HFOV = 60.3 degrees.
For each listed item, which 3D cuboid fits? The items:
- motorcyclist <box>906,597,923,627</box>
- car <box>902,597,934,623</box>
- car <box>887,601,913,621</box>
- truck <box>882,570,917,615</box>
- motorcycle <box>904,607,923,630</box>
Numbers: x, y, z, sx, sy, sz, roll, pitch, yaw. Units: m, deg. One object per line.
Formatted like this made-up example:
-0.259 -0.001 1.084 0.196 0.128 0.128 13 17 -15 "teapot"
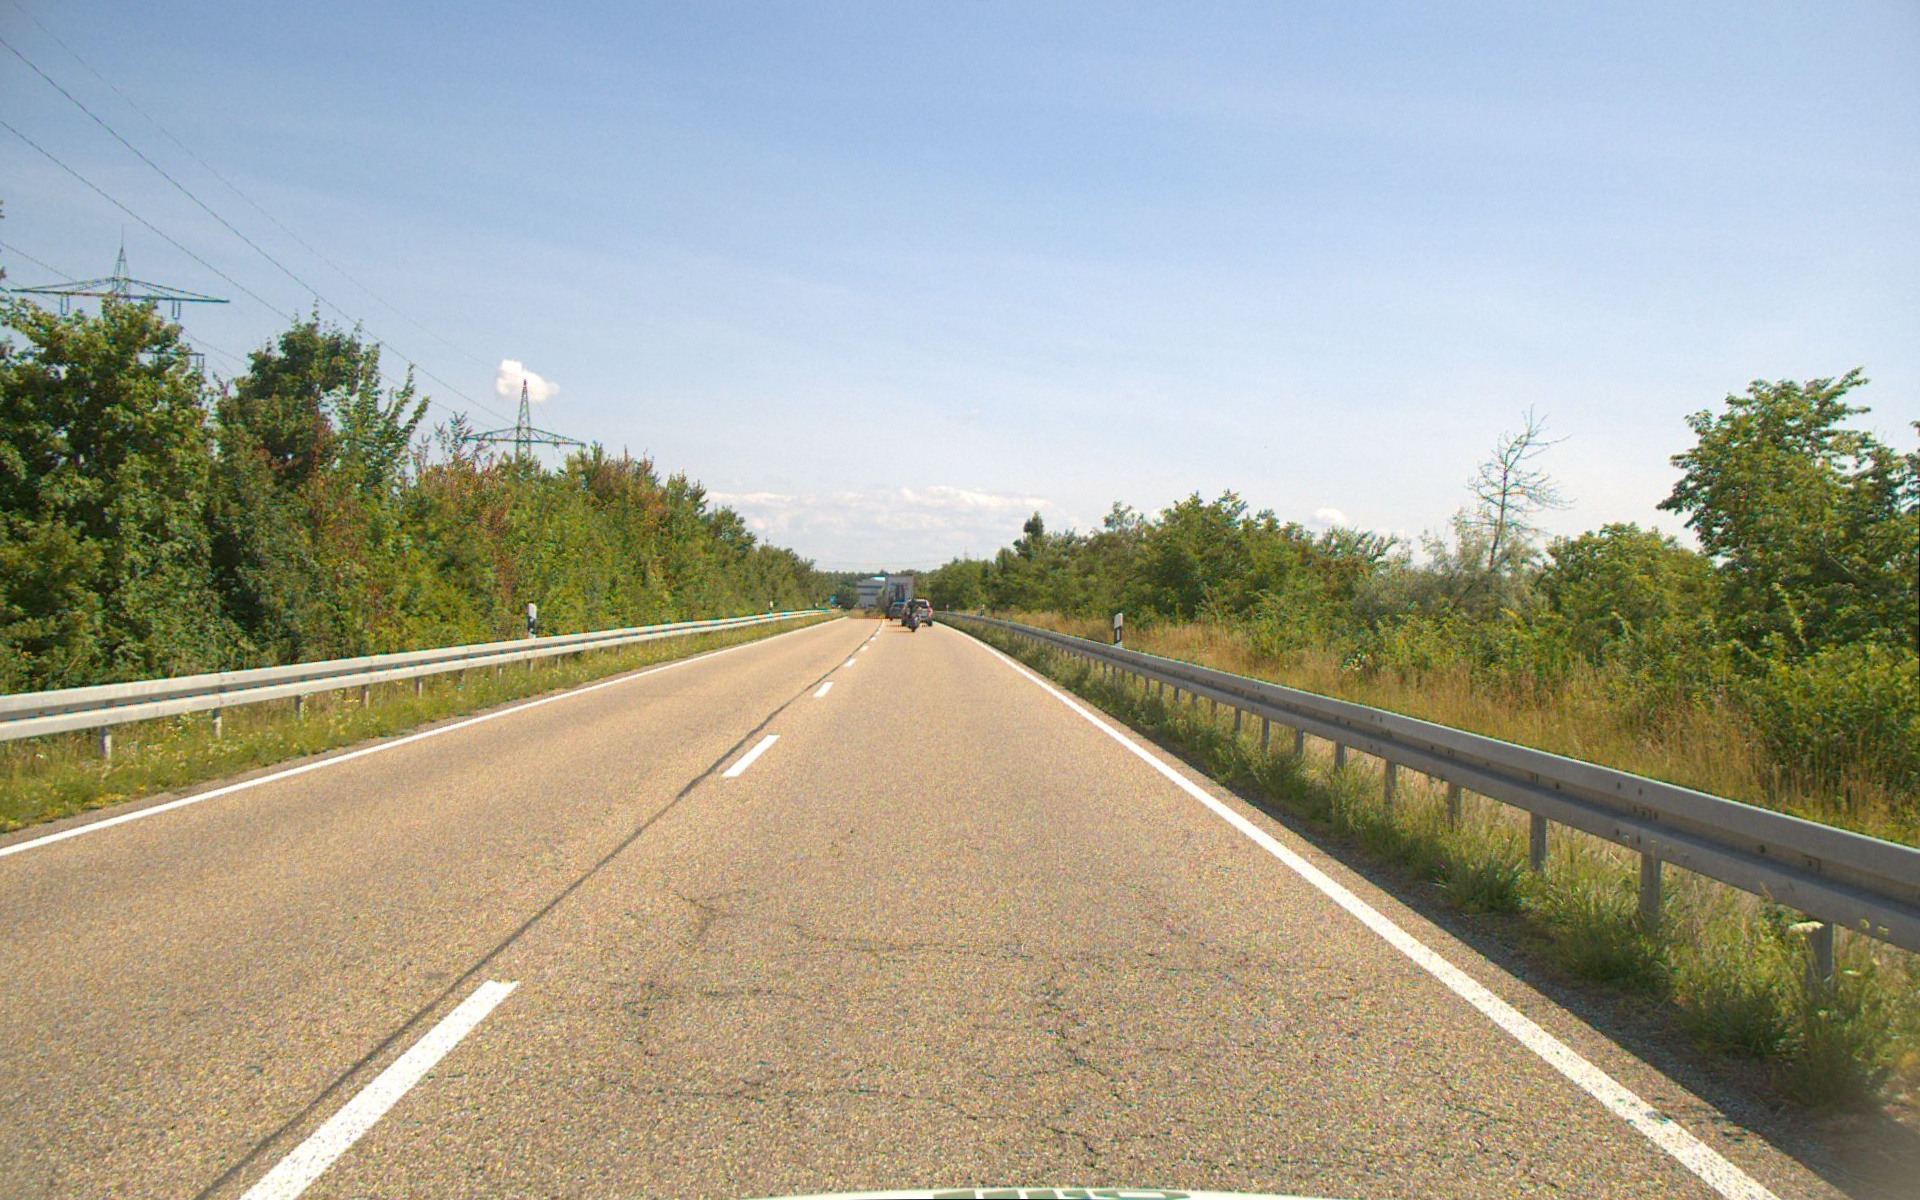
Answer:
-2.130 0.558 77.120 0.764 1.348 0.813 1 1 1 "motorcyclist"
-2.517 0.570 97.953 1.789 1.476 3.998 1 1 -3 "car"
-4.692 0.874 130.378 1.827 1.445 4.001 1 1 1 "car"
-5.764 -0.730 157.409 3.177 4.048 9.438 1 0 -3 "truck"
-2.143 0.868 77.103 0.764 0.992 2.362 1 1 1 "motorcycle"
